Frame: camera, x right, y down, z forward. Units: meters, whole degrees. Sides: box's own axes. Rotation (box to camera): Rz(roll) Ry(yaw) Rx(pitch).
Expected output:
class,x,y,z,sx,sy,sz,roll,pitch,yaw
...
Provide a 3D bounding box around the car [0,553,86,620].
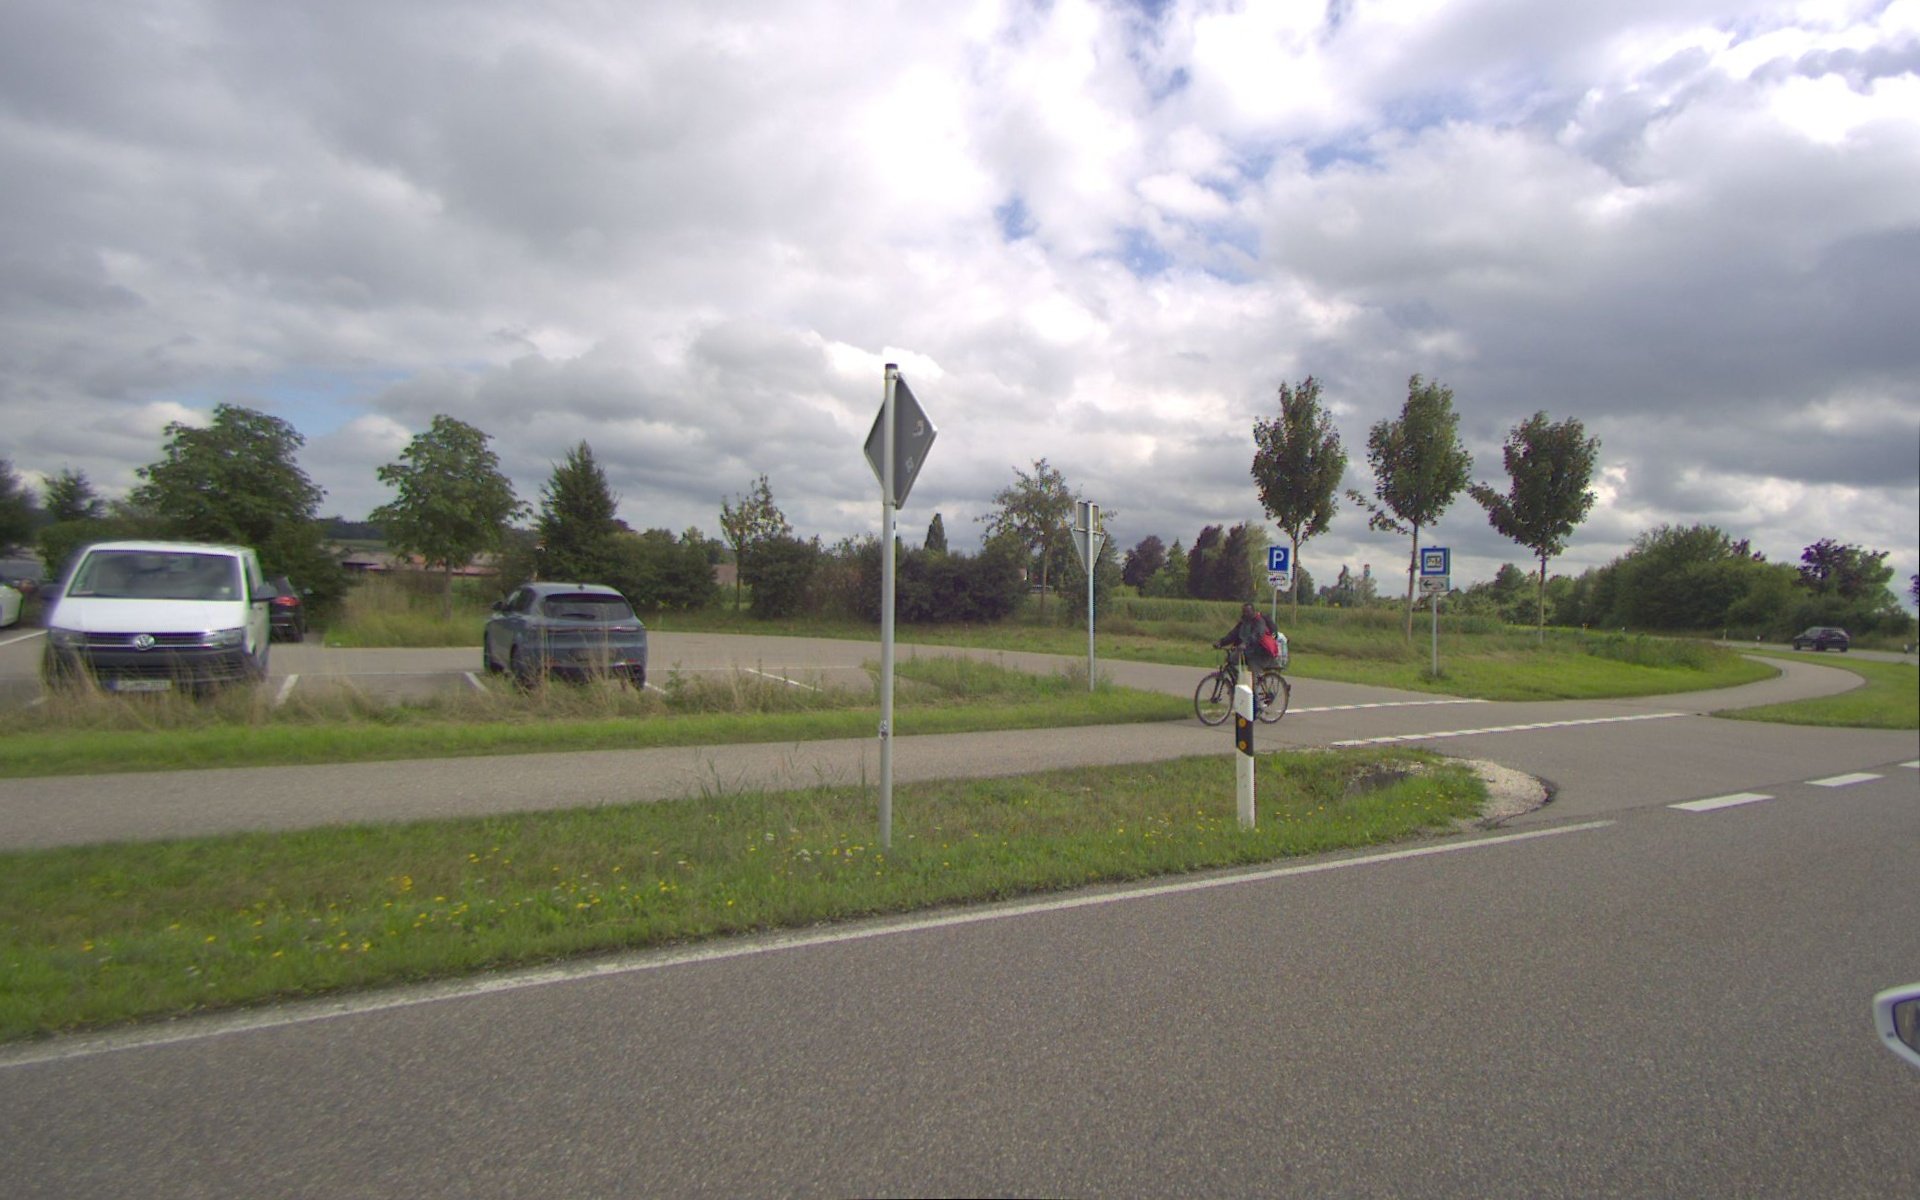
class,x,y,z,sx,sy,sz,roll,pitch,yaw
car,-23.084,-0.350,23.623,1.742,1.546,3.793,2,1,-1

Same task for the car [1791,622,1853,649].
class,x,y,z,sx,sy,sz,roll,pitch,yaw
car,61.169,2.487,71.364,1.875,1.688,4.000,2,0,18

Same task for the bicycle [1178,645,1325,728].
class,x,y,z,sx,sy,sz,roll,pitch,yaw
bicycle,4.088,1.178,14.016,2.165,1.046,0.632,2,1,-30

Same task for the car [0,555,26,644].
class,x,y,z,sx,sy,sz,roll,pitch,yaw
car,-19.832,-0.088,19.643,1.949,1.573,3.955,1,2,-39

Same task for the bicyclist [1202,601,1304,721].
class,x,y,z,sx,sy,sz,roll,pitch,yaw
bicyclist,4.084,0.827,14.021,1.042,1.587,0.827,1,1,-28

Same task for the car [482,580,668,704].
class,x,y,z,sx,sy,sz,roll,pitch,yaw
car,-6.166,0.548,15.776,1.978,1.616,4.225,2,1,-31

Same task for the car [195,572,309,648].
class,x,y,z,sx,sy,sz,roll,pitch,yaw
car,-15.730,0.175,22.226,1.826,1.406,3.955,1,2,-39

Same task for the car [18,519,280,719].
class,x,y,z,sx,sy,sz,roll,pitch,yaw
car,-10.053,0.153,12.876,2.034,2.040,4.865,1,1,-33
